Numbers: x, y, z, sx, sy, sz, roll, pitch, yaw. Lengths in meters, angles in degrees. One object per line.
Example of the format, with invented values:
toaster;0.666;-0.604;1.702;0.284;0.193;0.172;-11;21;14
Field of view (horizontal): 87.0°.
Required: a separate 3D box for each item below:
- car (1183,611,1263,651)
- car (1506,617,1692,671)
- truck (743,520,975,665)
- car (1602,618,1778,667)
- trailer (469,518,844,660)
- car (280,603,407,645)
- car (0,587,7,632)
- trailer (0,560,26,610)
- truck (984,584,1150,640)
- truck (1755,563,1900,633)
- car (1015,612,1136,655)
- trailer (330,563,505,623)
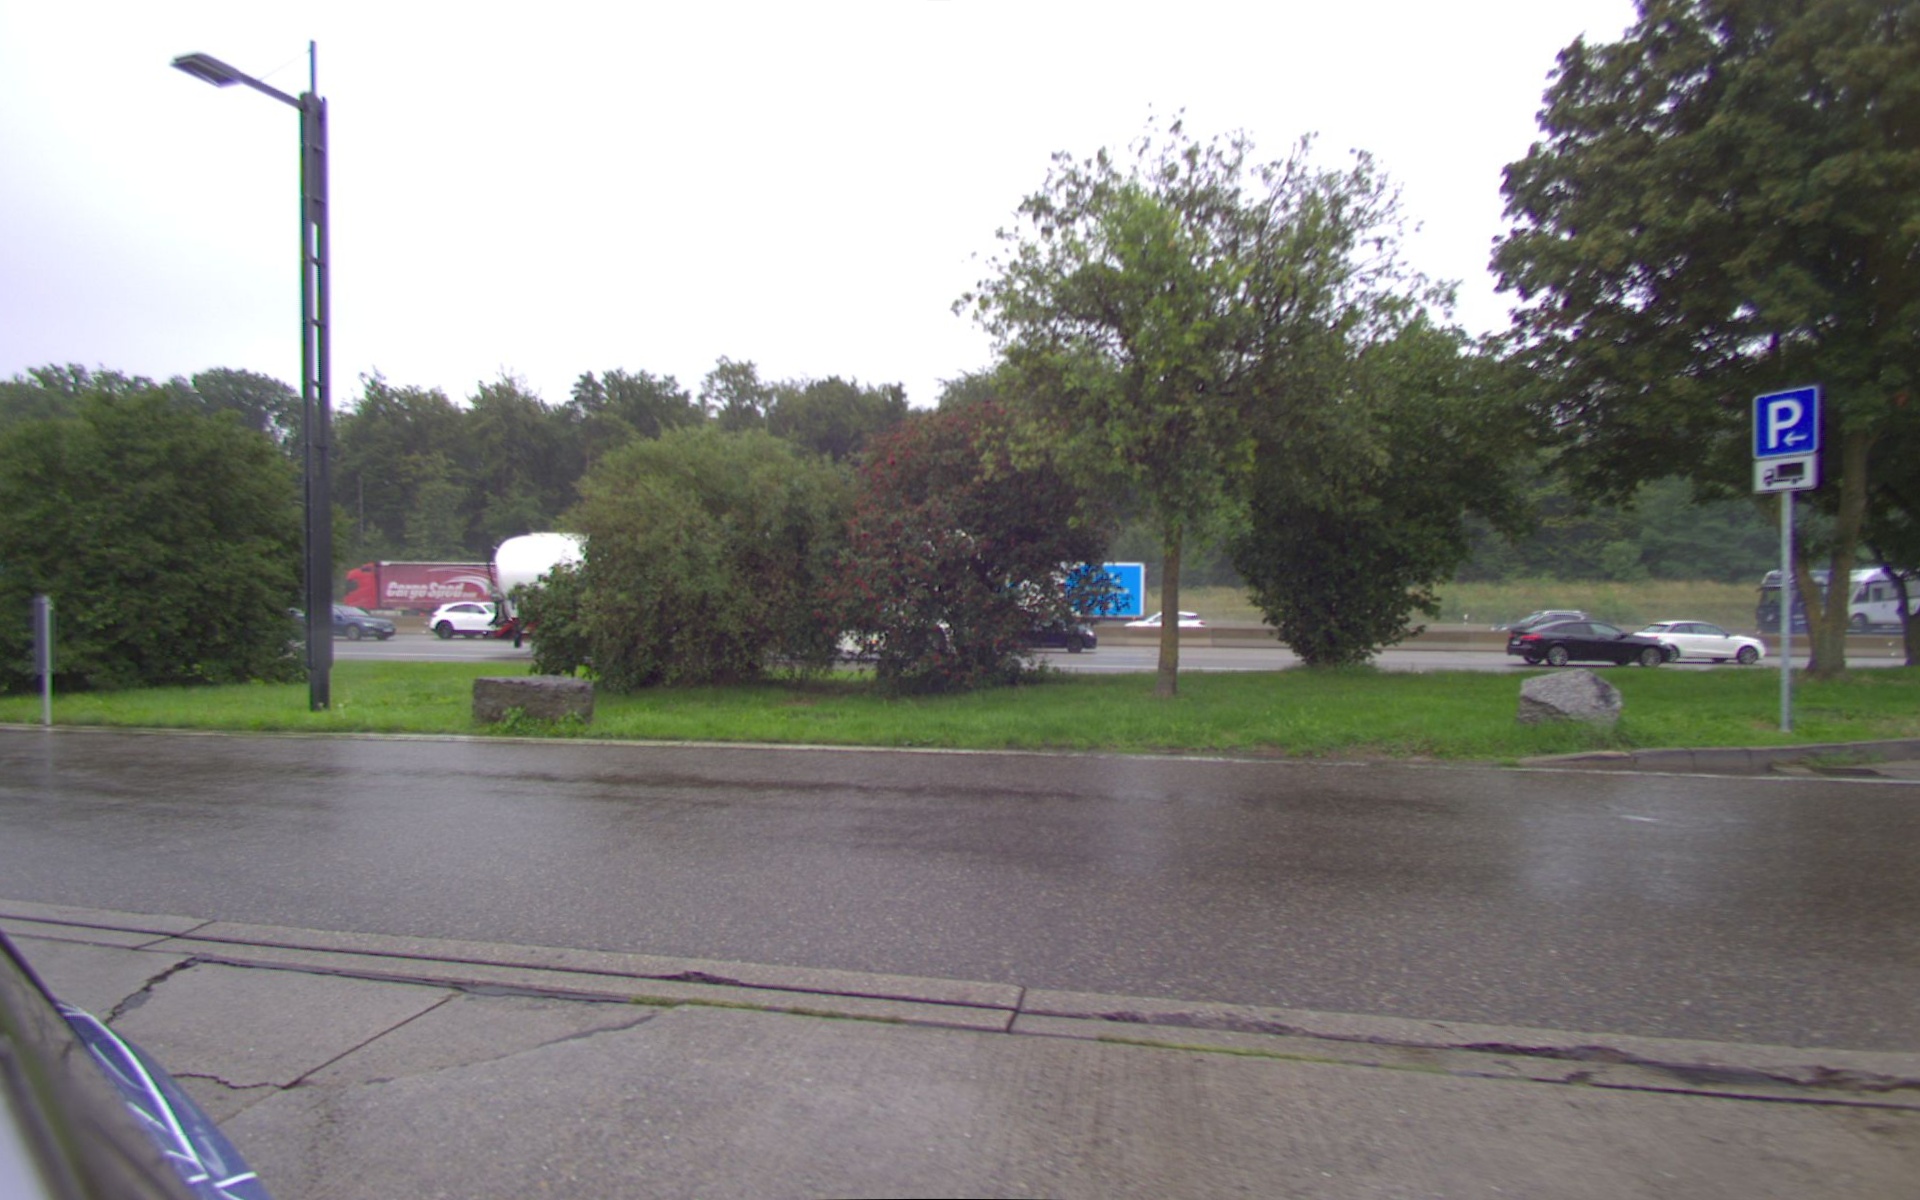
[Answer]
car;12.229;1.411;47.244;3.423;1.674;1.517;1;3;9
car;19.682;1.339;31.364;4.449;1.492;1.882;1;0;8
truck;-2.902;-0.241;30.129;6.434;4.038;2.752;0;0;9
car;24.877;1.431;34.643;4.454;1.492;1.880;1;0;11
trailer;-9.230;-0.308;31.130;10.914;4.057;2.764;0;-1;9
car;-25.602;0.989;42.095;4.352;1.681;1.820;-1;-1;8
car;-45.594;0.409;45.494;4.067;2.029;1.994;0;1;11
trailer;-74.282;-1.133;73.218;12.983;3.522;2.192;1;3;9
truck;5.831;0.650;55.397;8.837;2.973;2.250;0;-1;7
truck;42.033;-0.129;49.143;4.869;3.181;2.246;-1;3;4
car;4.065;1.148;35.398;4.078;1.425;1.818;0;0;10
trailer;-35.240;-0.460;65.815;10.617;3.640;2.459;-1;3;9
